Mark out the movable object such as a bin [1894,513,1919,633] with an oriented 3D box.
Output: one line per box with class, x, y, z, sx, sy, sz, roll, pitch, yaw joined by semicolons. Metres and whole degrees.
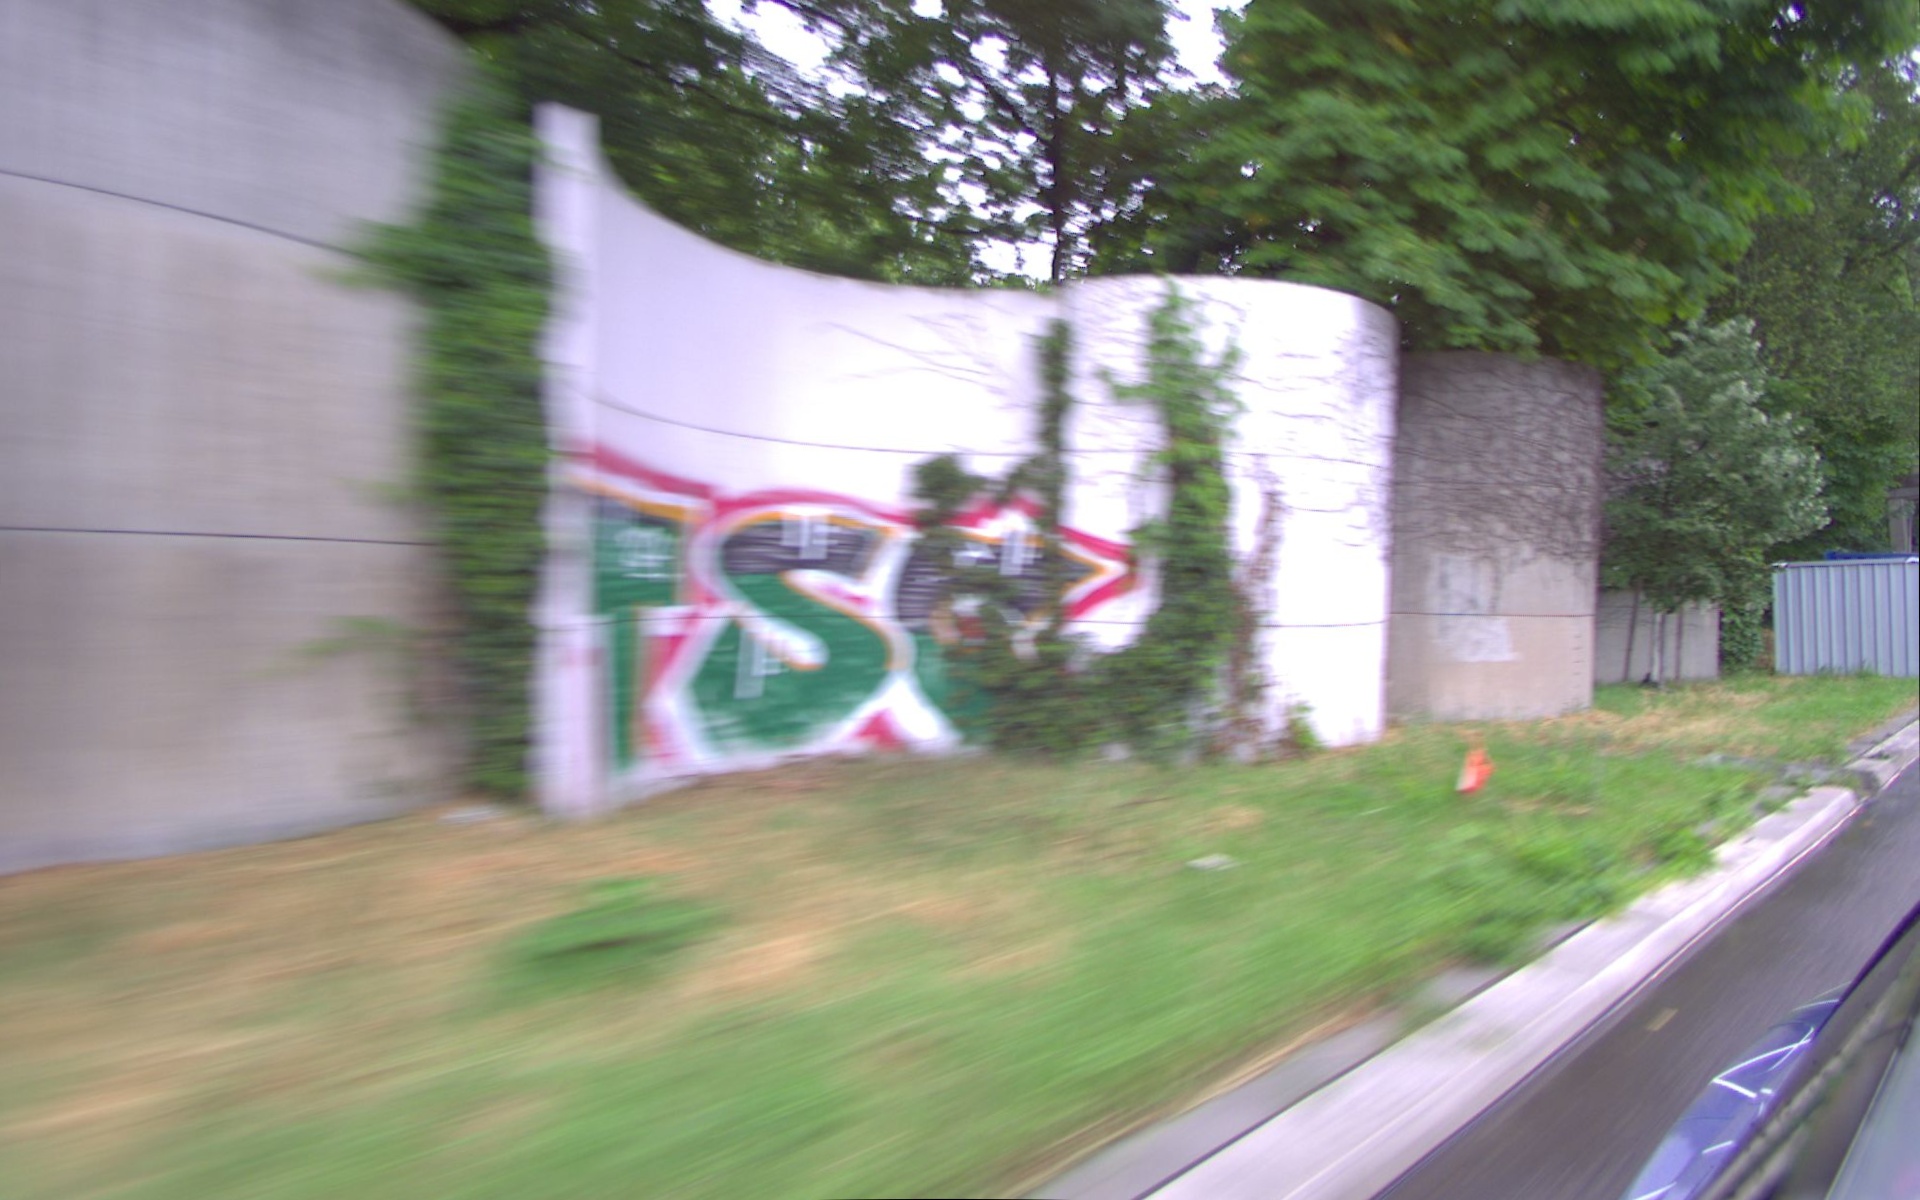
movable object such as a bin;34.543;-0.935;34.905;6.002;3.990;2.885;-1;0;-42
